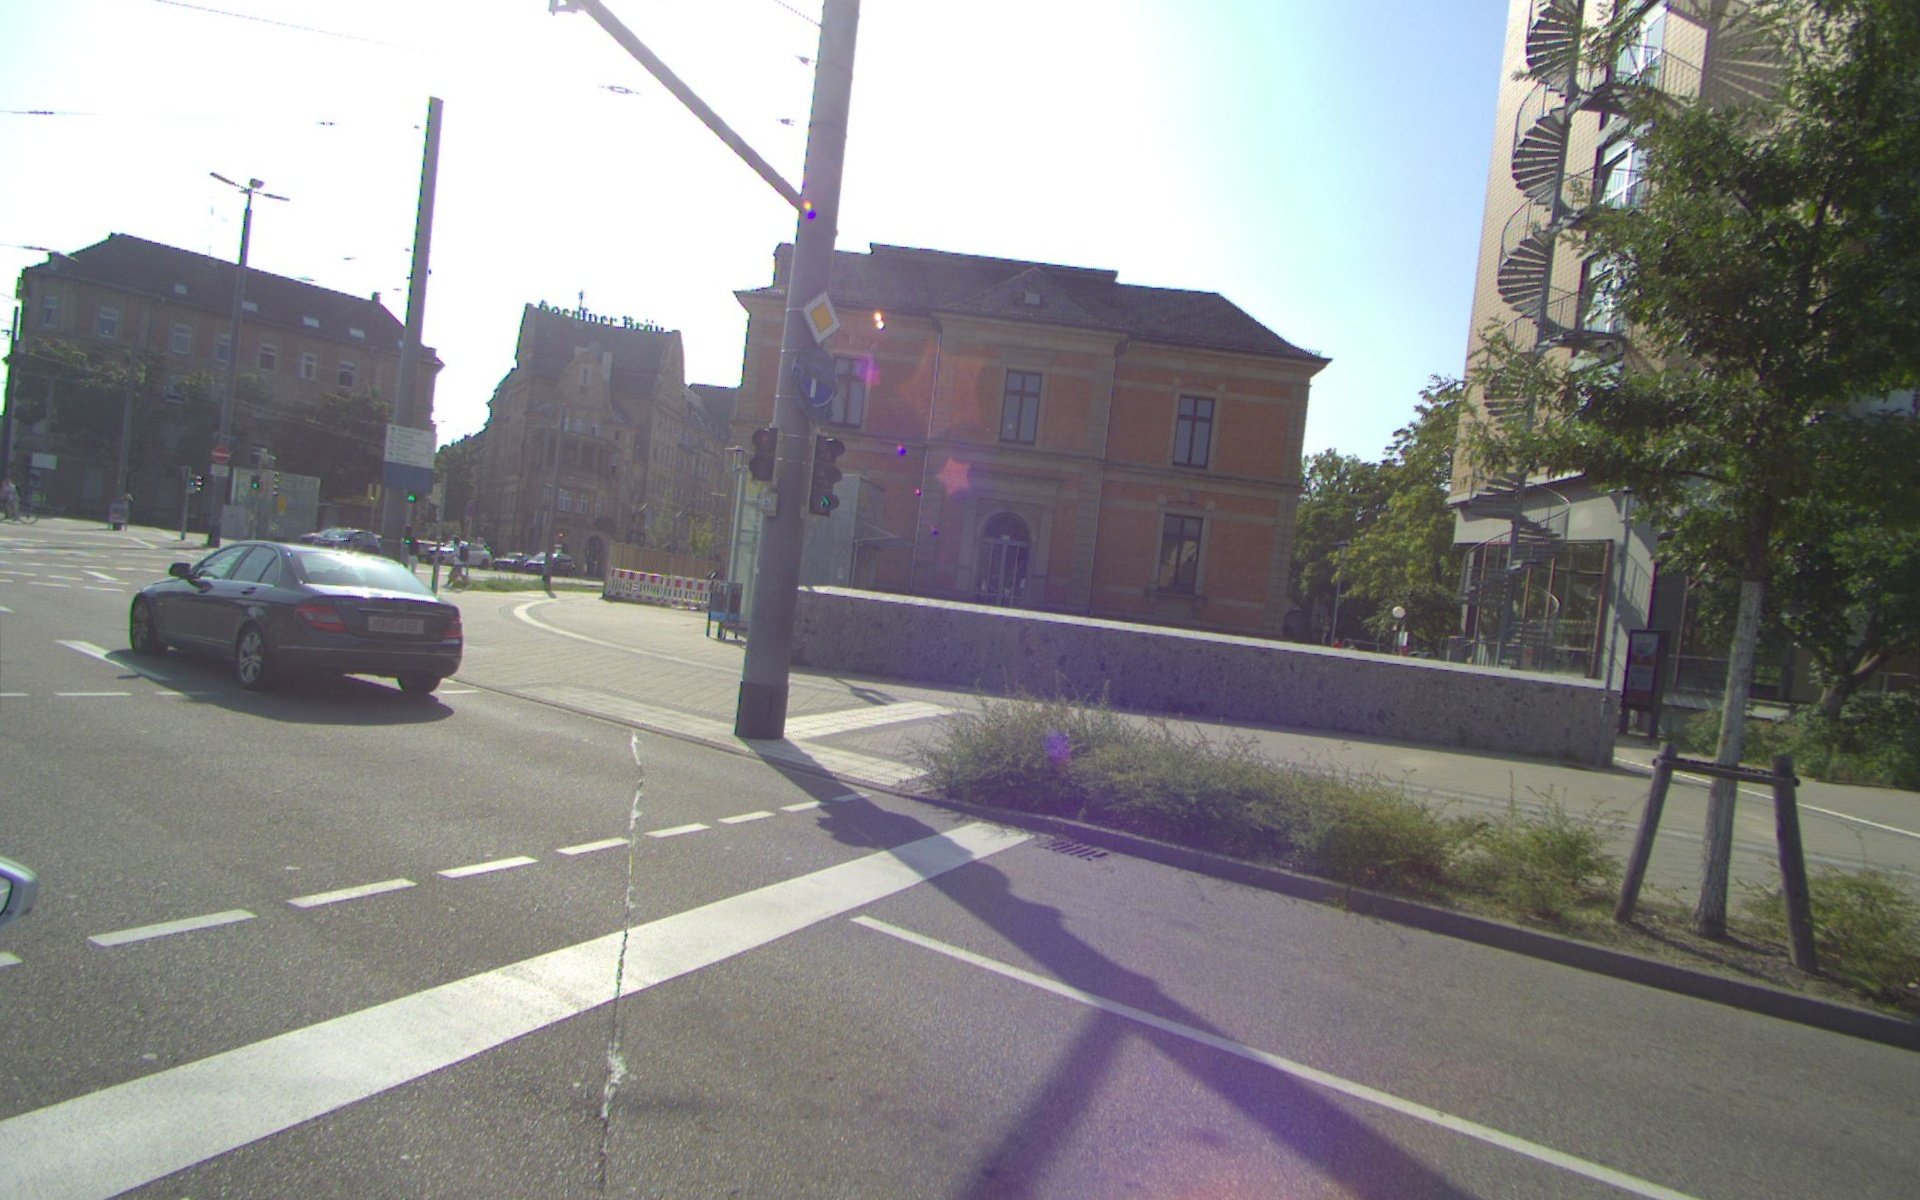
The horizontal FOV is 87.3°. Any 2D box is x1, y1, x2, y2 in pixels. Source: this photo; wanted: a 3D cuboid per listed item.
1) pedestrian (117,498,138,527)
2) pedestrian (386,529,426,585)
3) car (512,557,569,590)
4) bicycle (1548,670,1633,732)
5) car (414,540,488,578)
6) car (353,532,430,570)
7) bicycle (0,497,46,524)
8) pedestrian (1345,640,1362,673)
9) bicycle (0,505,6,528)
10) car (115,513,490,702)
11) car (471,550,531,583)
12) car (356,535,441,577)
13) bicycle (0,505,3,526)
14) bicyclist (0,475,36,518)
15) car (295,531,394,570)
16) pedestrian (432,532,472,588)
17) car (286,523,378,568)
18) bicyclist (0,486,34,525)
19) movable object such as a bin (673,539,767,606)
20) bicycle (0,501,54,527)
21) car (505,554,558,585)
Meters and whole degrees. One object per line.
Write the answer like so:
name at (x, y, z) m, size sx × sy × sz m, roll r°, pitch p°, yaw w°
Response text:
pedestrian at (-45.919, -4.830, 55.479) m, size 0.538 × 1.489 × 0.666 m, roll 6°, pitch 1°, yaw -14°
pedestrian at (-18.218, -1.395, 33.118) m, size 0.910 × 1.711 × 0.833 m, roll 6°, pitch 0°, yaw -23°
car at (-28.836, -1.801, 69.233) m, size 1.875 × 1.881 × 4.069 m, roll 7°, pitch 0°, yaw 3°
bicycle at (17.511, 2.789, 27.964) m, size 1.803 × 1.451 × 0.608 m, roll 7°, pitch 1°, yaw 3°
car at (-32.116, -2.541, 63.639) m, size 2.007 × 1.881 × 4.666 m, roll 7°, pitch -1°, yaw 3°
car at (-36.914, -3.145, 65.467) m, size 1.895 × 1.881 × 4.276 m, roll 7°, pitch -1°, yaw 11°
bicycle at (-41.571, -3.953, 43.922) m, size 1.074 × 0.976 × 2.623 m, roll 7°, pitch 0°, yaw -7°
pedestrian at (23.807, 3.415, 60.842) m, size 0.624 × 1.890 × 0.674 m, roll 7°, pitch 1°, yaw 11°
bicycle at (-43.500, -3.813, 44.043) m, size 1.074 × 0.976 × 2.623 m, roll 7°, pitch 0°, yaw -7°
car at (-7.123, 0.024, 10.763) m, size 4.301 × 1.460 × 1.684 m, roll 7°, pitch 0°, yaw 33°
car at (-31.896, -2.314, 70.003) m, size 1.874 × 1.881 × 4.252 m, roll 7°, pitch -1°, yaw 3°
car at (-32.595, -2.514, 58.567) m, size 1.874 × 1.881 × 4.711 m, roll 7°, pitch -1°, yaw 5°
bicycle at (-45.218, -4.012, 45.520) m, size 1.072 × 0.976 × 2.628 m, roll 7°, pitch 0°, yaw 7°
bicyclist at (-41.523, -4.536, 44.064) m, size 1.074 × 1.730 × 0.935 m, roll 7°, pitch 1°, yaw -7°
car at (-30.499, -2.400, 50.035) m, size 1.985 × 1.414 × 4.389 m, roll 7°, pitch -1°, yaw 3°
pedestrian at (-16.584, -1.291, 32.863) m, size 0.909 × 1.711 × 0.921 m, roll 6°, pitch 0°, yaw -20°
car at (-33.297, -2.836, 53.484) m, size 1.874 × 1.881 × 4.252 m, roll 7°, pitch -1°, yaw 3°
bicyclist at (-45.339, -4.534, 48.103) m, size 1.072 × 1.701 × 0.937 m, roll 7°, pitch 1°, yaw 7°
movable object such as a bin at (-10.656, -1.117, 45.466) m, size 2.408 × 2.472 × 7.975 m, roll 7°, pitch 0°, yaw -2°
bicycle at (-45.366, -4.162, 48.304) m, size 1.072 × 0.976 × 2.628 m, roll 7°, pitch 0°, yaw 7°
car at (-32.134, -2.256, 75.569) m, size 1.874 × 1.881 × 4.252 m, roll 7°, pitch -1°, yaw 3°
